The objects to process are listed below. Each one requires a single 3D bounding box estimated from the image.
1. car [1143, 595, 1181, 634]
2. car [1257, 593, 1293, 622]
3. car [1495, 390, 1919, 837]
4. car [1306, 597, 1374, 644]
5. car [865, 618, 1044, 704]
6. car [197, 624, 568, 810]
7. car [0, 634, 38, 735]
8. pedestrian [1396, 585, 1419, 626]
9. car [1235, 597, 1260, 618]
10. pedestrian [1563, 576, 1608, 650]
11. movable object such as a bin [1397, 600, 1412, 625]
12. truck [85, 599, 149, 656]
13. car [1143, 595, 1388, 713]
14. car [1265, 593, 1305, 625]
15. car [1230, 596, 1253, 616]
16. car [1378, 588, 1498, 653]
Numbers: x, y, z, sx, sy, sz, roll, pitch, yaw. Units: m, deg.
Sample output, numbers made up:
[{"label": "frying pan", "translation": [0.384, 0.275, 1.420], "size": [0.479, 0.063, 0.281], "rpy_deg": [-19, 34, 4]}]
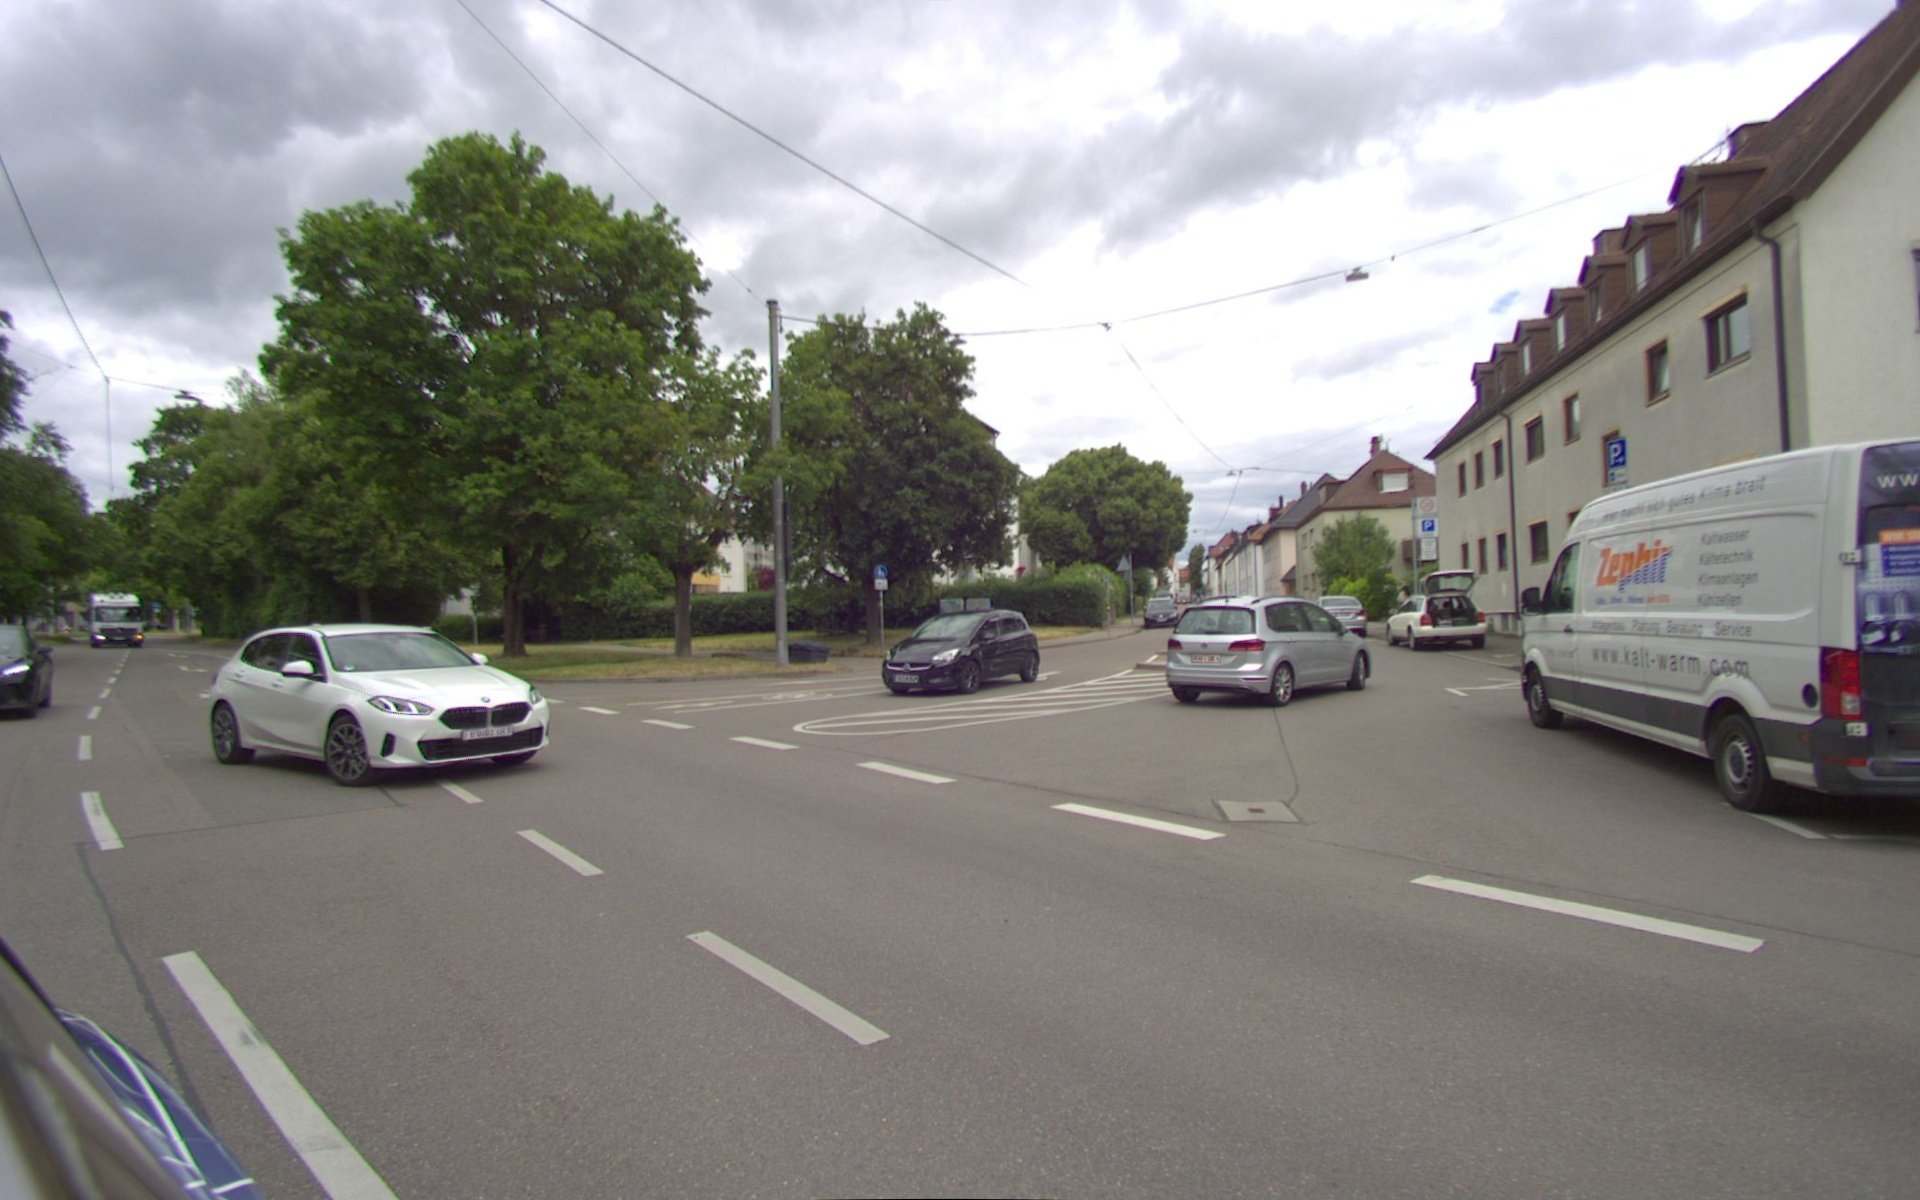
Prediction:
[{"label": "car", "translation": [10.497, 0.726, 52.824], "size": [1.763, 1.763, 3.987], "rpy_deg": [-4, 0, 11]}, {"label": "car", "translation": [19.262, 0.425, 61.997], "size": [1.786, 1.546, 3.872], "rpy_deg": [-4, 0, 14]}, {"label": "car", "translation": [6.968, 0.018, 8.975], "size": [2.064, 2.541, 6.951], "rpy_deg": [-4, -1, 13]}, {"label": "car", "translation": [13.438, 0.675, 36.007], "size": [1.666, 1.545, 4.217], "rpy_deg": [0, 0, 12]}, {"label": "car", "translation": [0.014, 1.082, 19.024], "size": [1.637, 1.347, 3.961], "rpy_deg": [-3, -1, 29]}, {"label": "car", "translation": [-6.049, 1.042, 10.430], "size": [4.199, 1.529, 1.780], "rpy_deg": [-2, -1, 36]}, {"label": "car", "translation": [-16.130, 1.305, 16.269], "size": [1.775, 1.495, 4.022], "rpy_deg": [2, -3, -44]}, {"label": "pedestrian", "translation": [18.315, 0.222, 41.426], "size": [0.676, 1.645, 0.778], "rpy_deg": [-4, 0, 16]}, {"label": "car", "translation": [23.917, 0.594, 84.314], "size": [1.724, 1.563, 3.832], "rpy_deg": [-4, 0, 13]}, {"label": "pedestrian", "translation": [13.749, 0.284, 22.240], "size": [0.747, 1.546, 0.708], "rpy_deg": [-4, 0, 34]}, {"label": "movable object such as a bin", "translation": [18.575, 0.520, 42.276], "size": [0.400, 1.004, 0.874], "rpy_deg": [-4, 0, 16]}, {"label": "truck", "translation": [-50.524, 1.640, 60.586], "size": [2.402, 3.219, 6.470], "rpy_deg": [1, -2, -45]}, {"label": "car", "translation": [4.825, 0.758, 15.722], "size": [3.940, 1.586, 1.931], "rpy_deg": [0, -2, -44]}, {"label": "car", "translation": [17.984, 0.490, 56.132], "size": [1.786, 1.546, 3.872], "rpy_deg": [-4, 0, 14]}, {"label": "car", "translation": [24.875, 0.499, 89.468], "size": [1.724, 1.563, 3.832], "rpy_deg": [-4, 0, 13]}, {"label": "car", "translation": [12.347, 0.471, 26.435], "size": [1.703, 1.450, 4.302], "rpy_deg": [-4, 0, 11]}]
